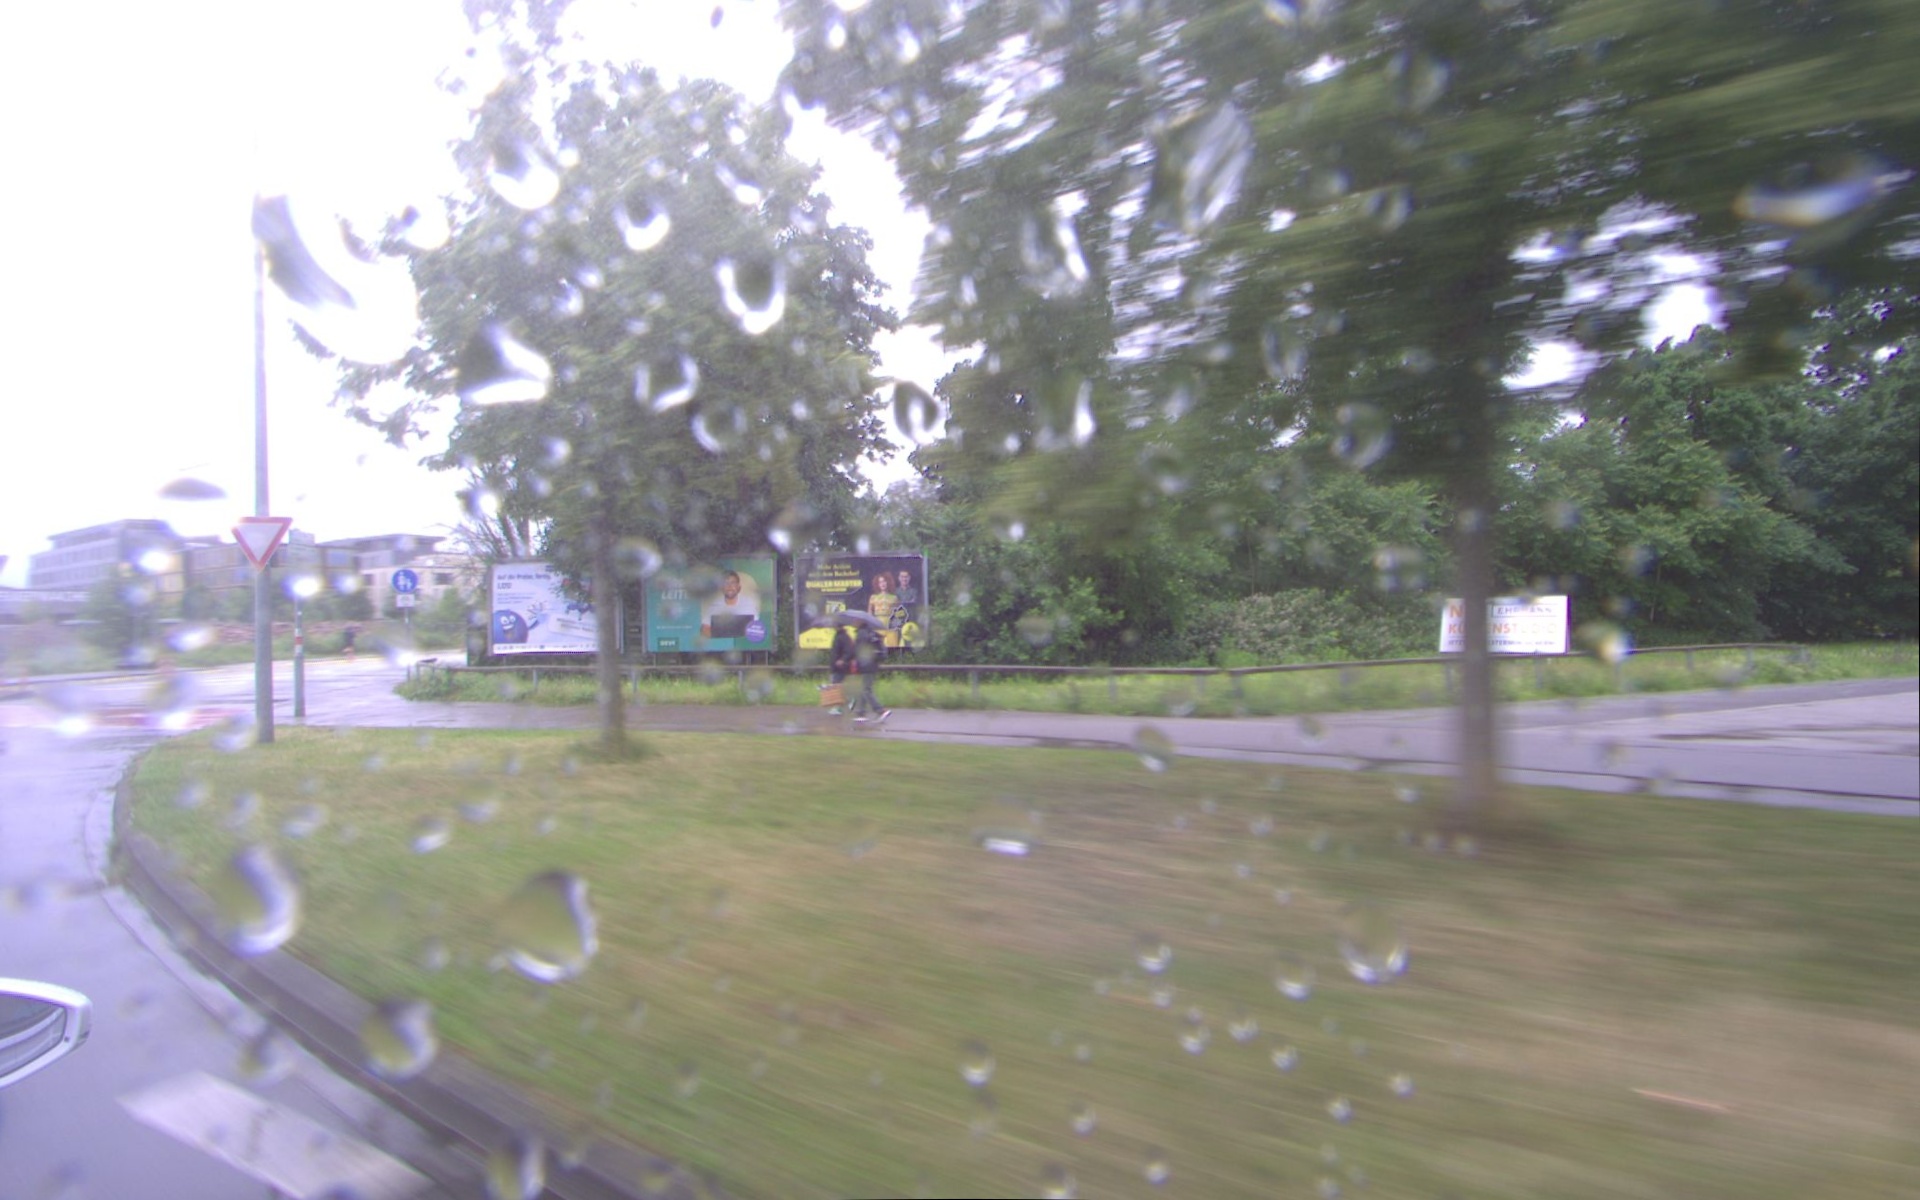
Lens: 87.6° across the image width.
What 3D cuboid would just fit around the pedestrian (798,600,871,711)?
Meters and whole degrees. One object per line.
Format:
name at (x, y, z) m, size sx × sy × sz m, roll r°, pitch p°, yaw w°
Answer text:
pedestrian at (-2.111, 0.930, 16.814) m, size 0.914 × 1.806 × 0.801 m, roll 1°, pitch -3°, yaw -40°

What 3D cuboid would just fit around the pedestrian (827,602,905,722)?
pedestrian at (-1.484, 0.966, 15.720) m, size 0.914 × 1.806 × 0.801 m, roll 1°, pitch -3°, yaw -40°

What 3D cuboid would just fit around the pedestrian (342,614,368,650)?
pedestrian at (-34.970, 1.864, 57.865) m, size 0.832 × 2.038 × 1.132 m, roll -1°, pitch -3°, yaw -4°
